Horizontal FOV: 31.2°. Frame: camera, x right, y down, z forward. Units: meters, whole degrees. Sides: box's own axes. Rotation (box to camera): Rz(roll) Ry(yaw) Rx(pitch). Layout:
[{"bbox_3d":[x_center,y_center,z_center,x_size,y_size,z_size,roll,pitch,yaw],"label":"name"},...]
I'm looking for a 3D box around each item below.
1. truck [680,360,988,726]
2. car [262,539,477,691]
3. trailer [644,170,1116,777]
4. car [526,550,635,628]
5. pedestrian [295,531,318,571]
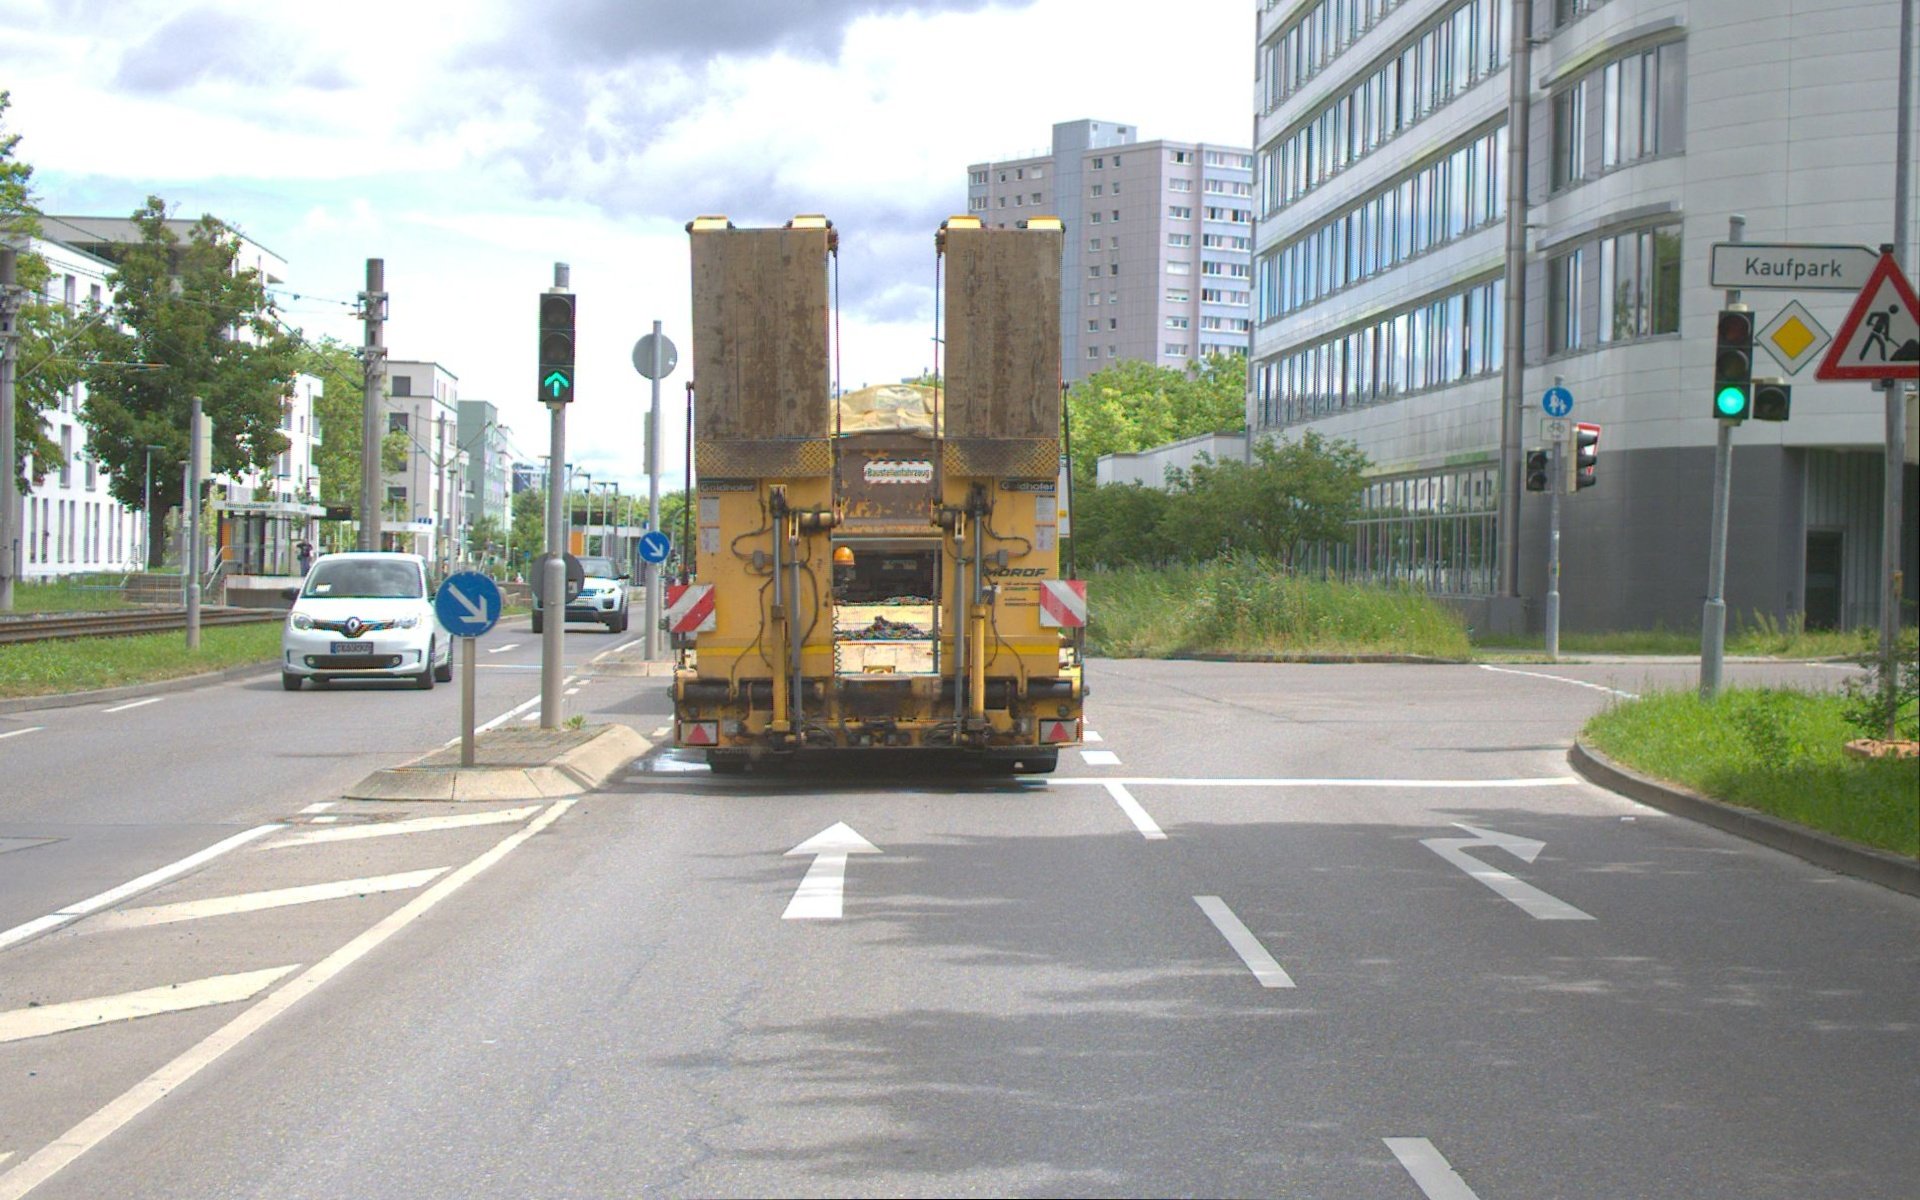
[{"bbox_3d":[-1.351,-0.537,35.897,2.753,3.302,8.352,1,0,-3],"label":"truck"},{"bbox_3d":[-6.719,0.158,39.502,1.728,1.607,4.263,1,0,-1],"label":"car"},{"bbox_3d":[-0.795,-0.770,26.118,2.729,3.547,11.255,1,0,-3],"label":"trailer"},{"bbox_3d":[-8.170,-0.261,74.374,1.860,1.605,4.608,1,1,0],"label":"car"},{"bbox_3d":[-25.518,-1.918,134.202,0.741,1.526,0.547,1,0,1],"label":"pedestrian"}]
